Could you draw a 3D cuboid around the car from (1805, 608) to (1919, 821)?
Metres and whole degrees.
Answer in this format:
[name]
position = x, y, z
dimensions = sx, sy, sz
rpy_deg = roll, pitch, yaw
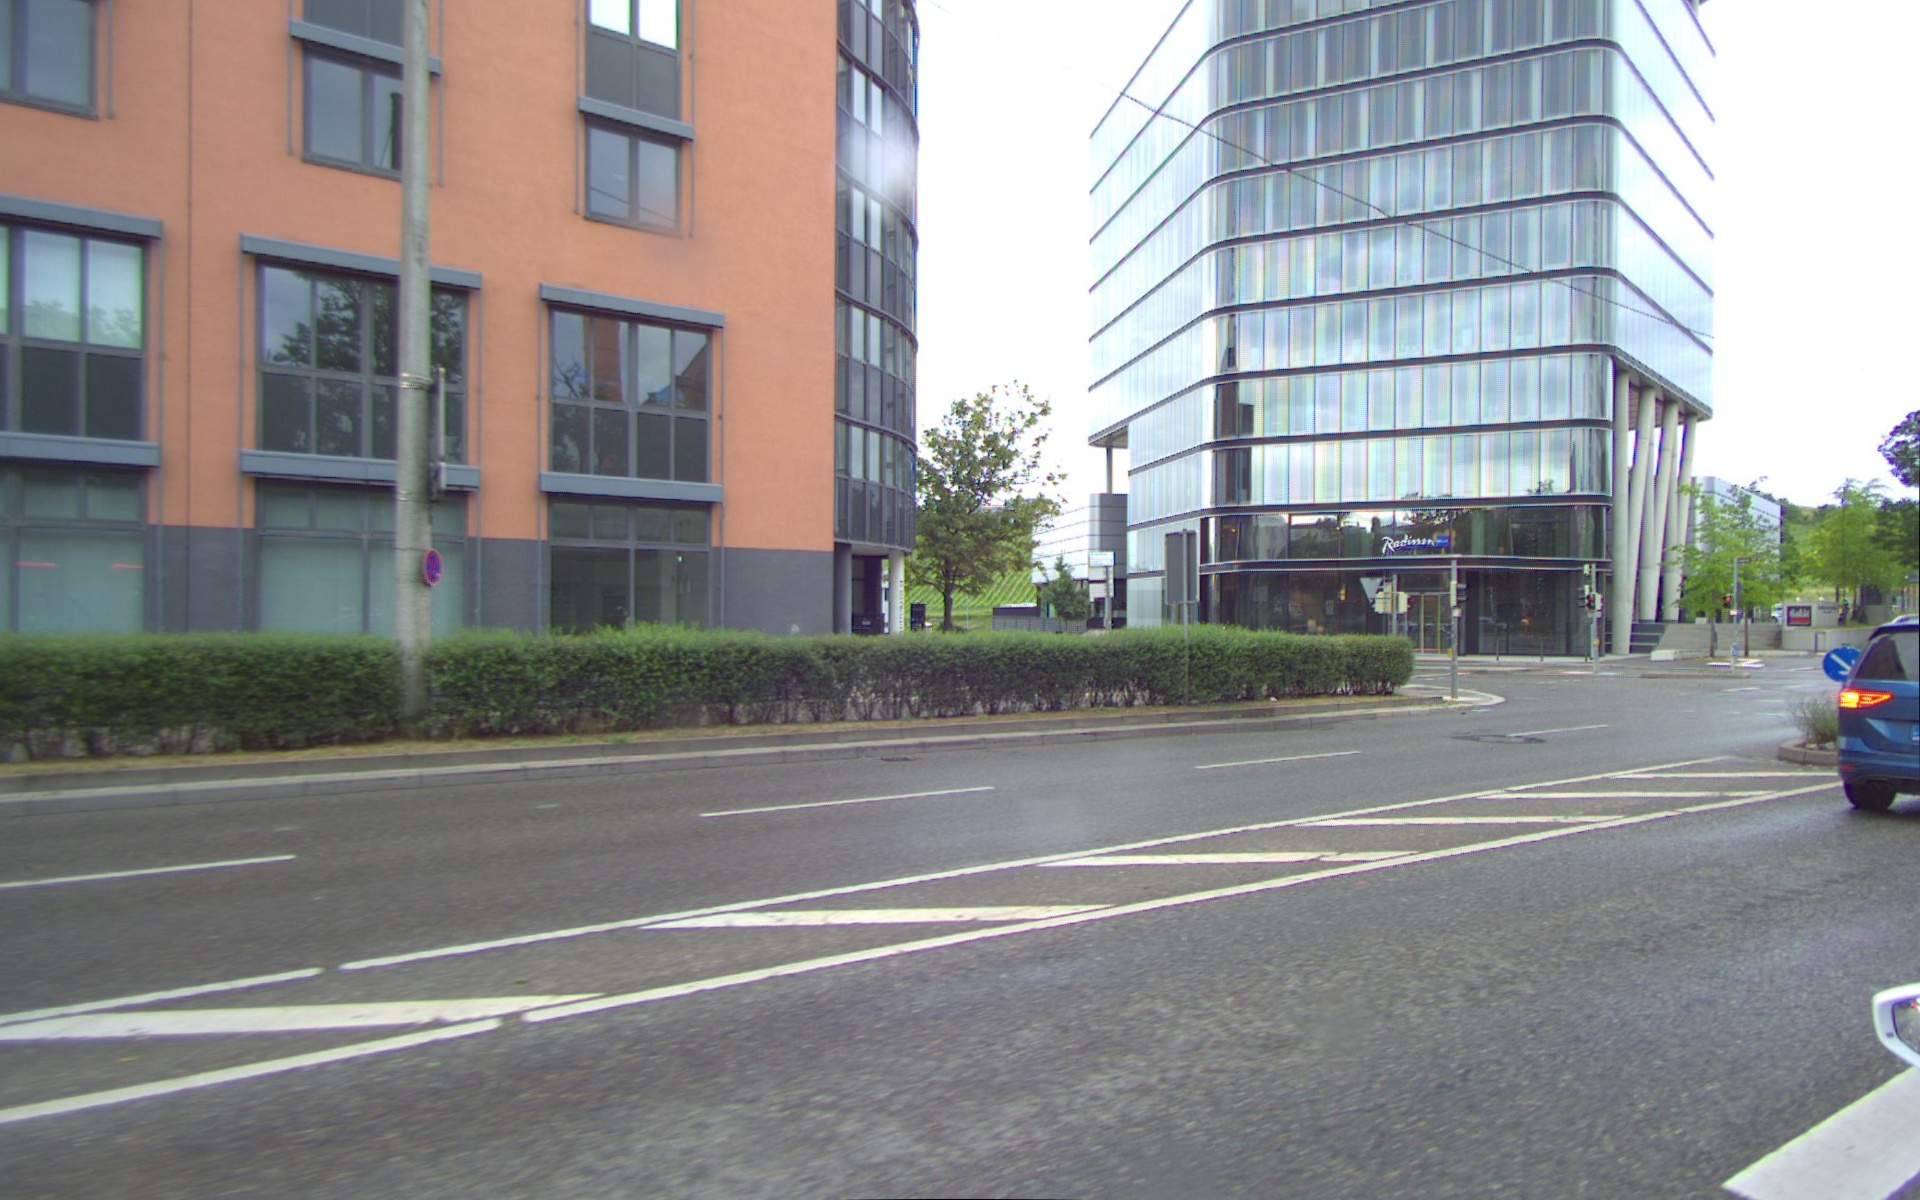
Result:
[car]
position = 9.200, 0.896, 8.500
dimensions = 4.146, 1.617, 1.765
rpy_deg = 1, -2, -29
